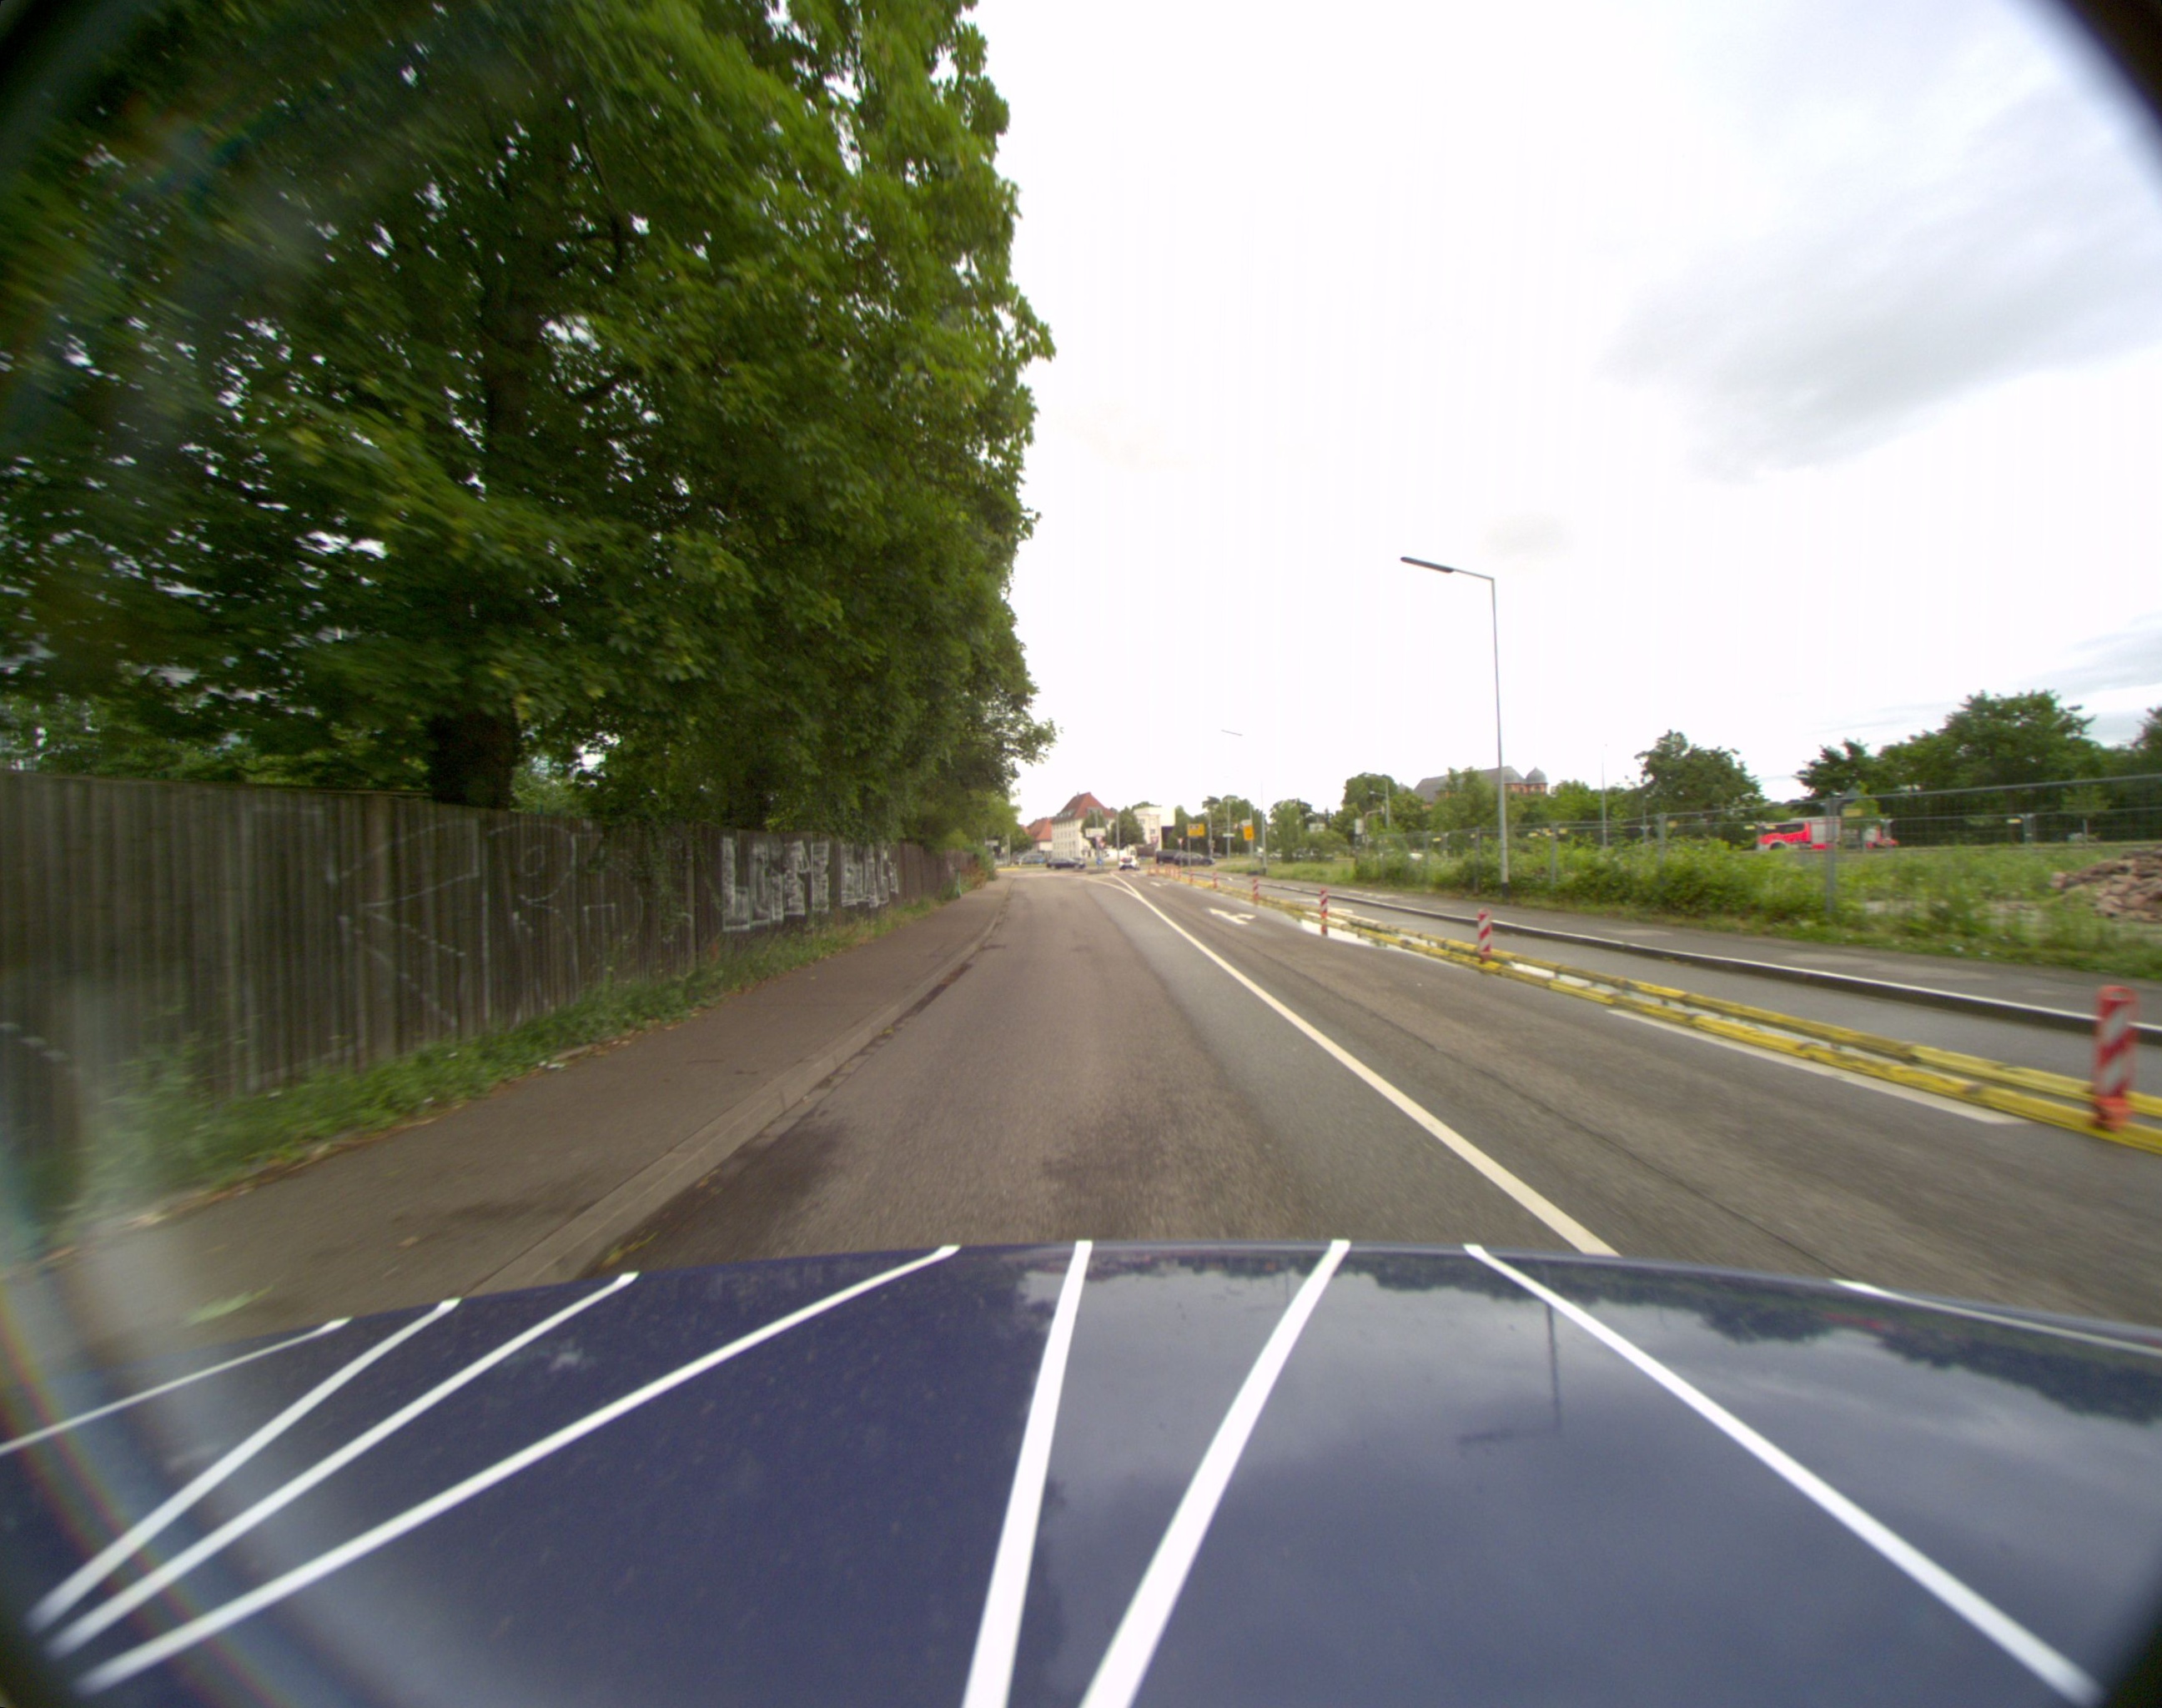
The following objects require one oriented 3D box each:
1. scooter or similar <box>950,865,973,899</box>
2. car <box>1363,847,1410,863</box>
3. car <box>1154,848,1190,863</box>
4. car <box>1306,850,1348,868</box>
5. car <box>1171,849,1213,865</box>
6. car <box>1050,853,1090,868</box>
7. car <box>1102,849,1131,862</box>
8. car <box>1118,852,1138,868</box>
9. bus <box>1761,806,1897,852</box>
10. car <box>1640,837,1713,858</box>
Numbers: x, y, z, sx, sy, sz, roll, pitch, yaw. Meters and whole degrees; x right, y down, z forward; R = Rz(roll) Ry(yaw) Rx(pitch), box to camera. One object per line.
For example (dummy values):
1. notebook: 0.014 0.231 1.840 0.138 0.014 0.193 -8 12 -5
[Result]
1. scooter or similar: -4.811 1.116 30.691 0.693 1.304 2.352 -2 -1 -5
2. car: 31.360 0.130 78.048 4.422 1.449 1.835 -2 0 23
3. car: 10.966 0.195 91.730 4.006 1.705 1.931 -2 1 13
4. car: 28.484 0.563 87.968 4.475 1.893 1.924 -2 1 23
5. car: 12.202 0.366 84.028 4.470 1.557 1.922 -2 0 5
6. car: -1.264 0.758 90.113 4.353 1.608 2.002 -2 -1 10
7. car: 7.044 0.281 151.215 5.602 2.527 2.242 -2 1 7
8. car: 4.791 0.554 78.181 1.755 1.578 3.901 0 0 0
9. bus: 66.334 -2.120 67.723 8.375 3.626 2.740 -2 -1 41
10. car: 51.311 -0.535 65.546 4.739 1.658 1.925 -2 1 31
